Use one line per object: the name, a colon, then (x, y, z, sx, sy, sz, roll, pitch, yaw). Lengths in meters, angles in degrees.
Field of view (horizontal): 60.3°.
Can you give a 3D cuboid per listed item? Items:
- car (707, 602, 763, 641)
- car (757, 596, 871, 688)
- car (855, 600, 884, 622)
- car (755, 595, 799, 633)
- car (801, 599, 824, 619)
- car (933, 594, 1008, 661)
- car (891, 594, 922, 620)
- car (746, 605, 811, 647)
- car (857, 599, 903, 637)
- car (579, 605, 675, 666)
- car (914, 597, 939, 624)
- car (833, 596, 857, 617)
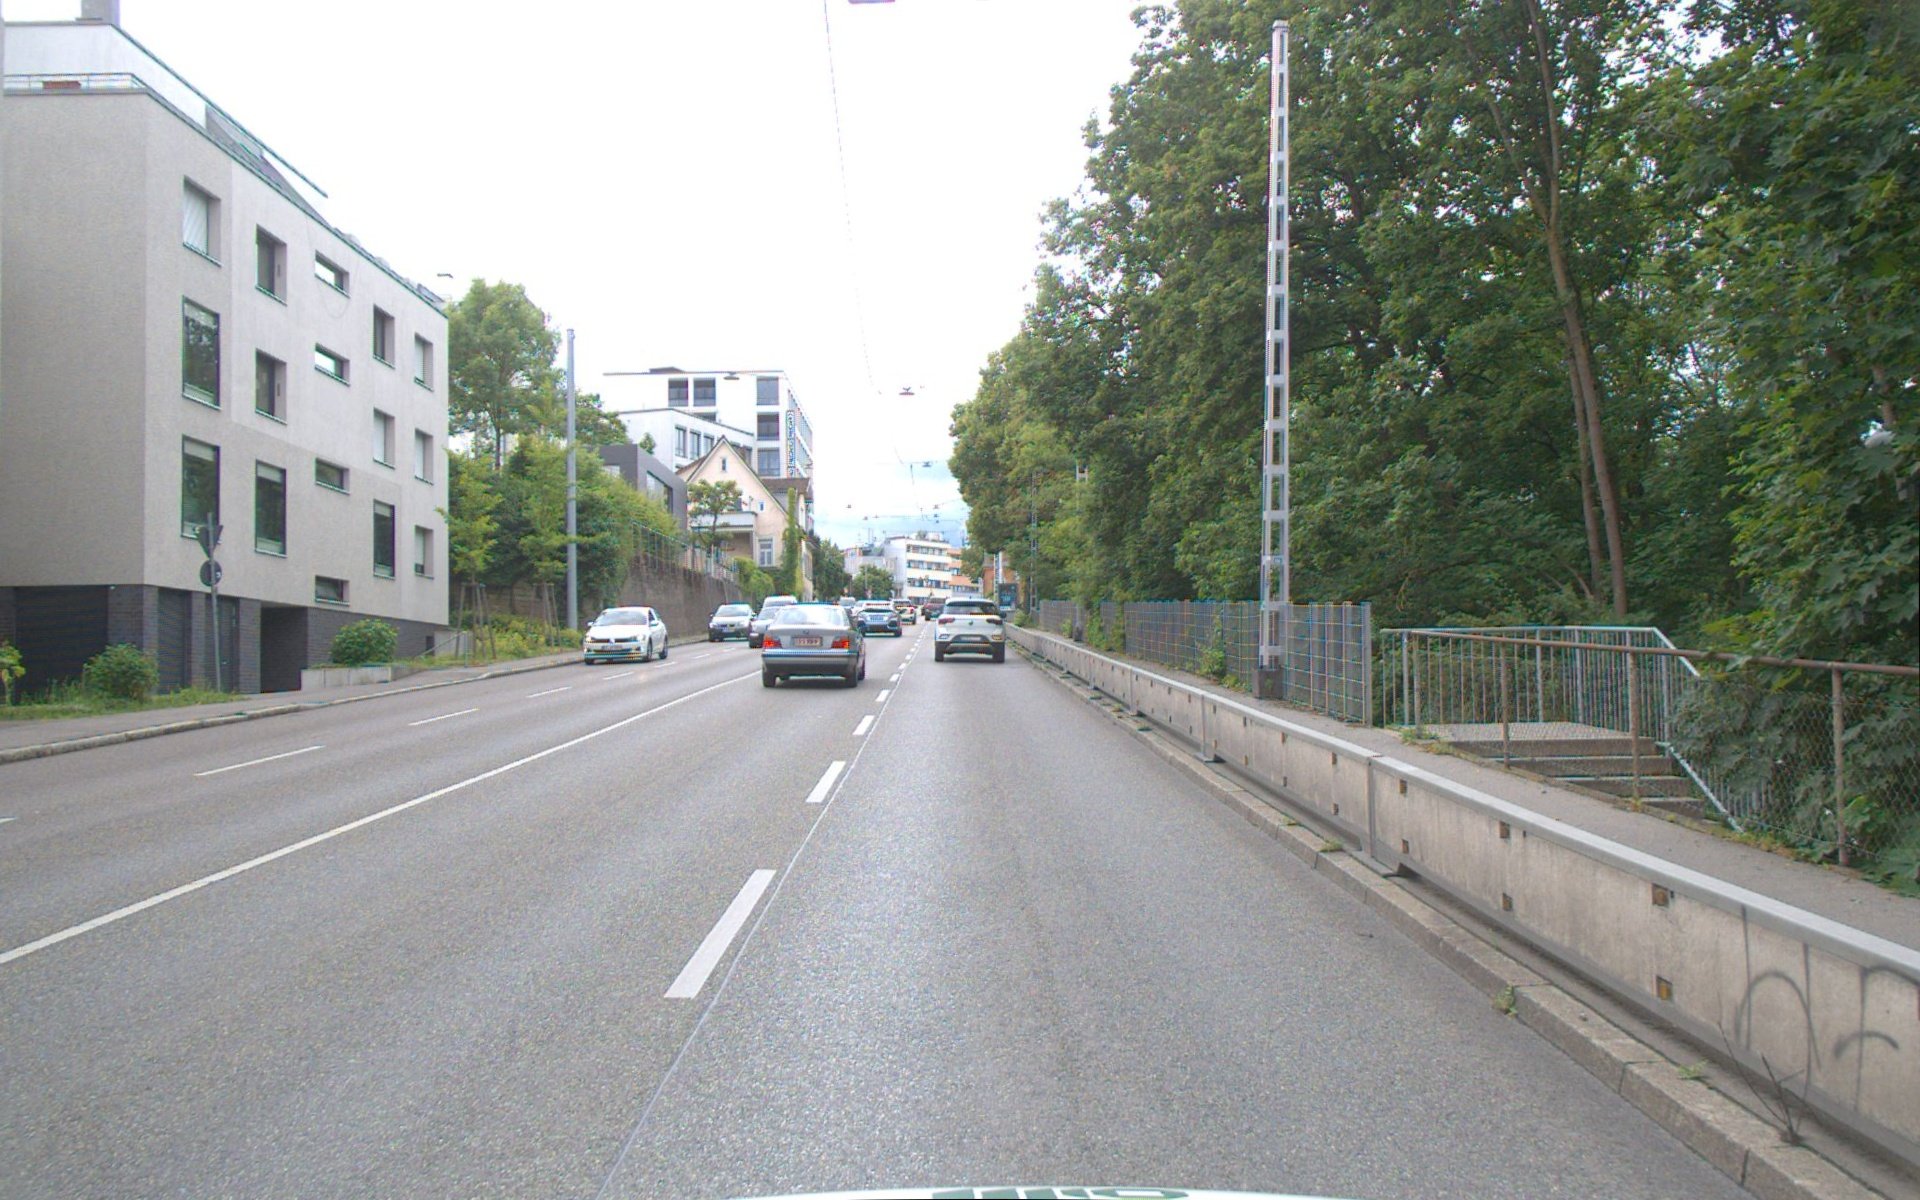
car: (-9.148, 0.859, 67.564, 1.697, 1.489, 4.423, -2, 0, -1)
car: (-2.494, 0.688, 29.086, 1.671, 1.489, 3.999, 1, 0, -1)
car: (-6.373, 0.747, 116.858, 1.778, 1.410, 4.462, -3, 0, -1)
car: (-9.314, 0.690, 84.416, 1.697, 1.819, 4.866, -2, 0, -1)
car: (-12.937, 0.765, 145.131, 1.954, 1.731, 3.996, 1, 0, -4)
car: (0.217, 0.664, 41.758, 1.744, 1.607, 3.999, 1, 0, -2)
car: (-3.109, 0.391, 96.844, 1.671, 1.489, 3.999, -1, 0, -1)
car: (-6.044, 0.858, 55.468, 1.717, 1.291, 4.191, -2, 0, -1)
car: (-3.232, 0.723, 67.423, 1.671, 1.489, 3.999, -1, 0, -1)
car: (-8.880, 0.920, 44.449, 1.737, 1.489, 4.191, -2, 0, -1)
car: (-2.294, 0.721, 113.635, 1.623, 1.796, 3.286, 0, 0, 0)
car: (-9.855, 0.550, 142.120, 1.779, 1.815, 4.494, 0, 0, -1)
